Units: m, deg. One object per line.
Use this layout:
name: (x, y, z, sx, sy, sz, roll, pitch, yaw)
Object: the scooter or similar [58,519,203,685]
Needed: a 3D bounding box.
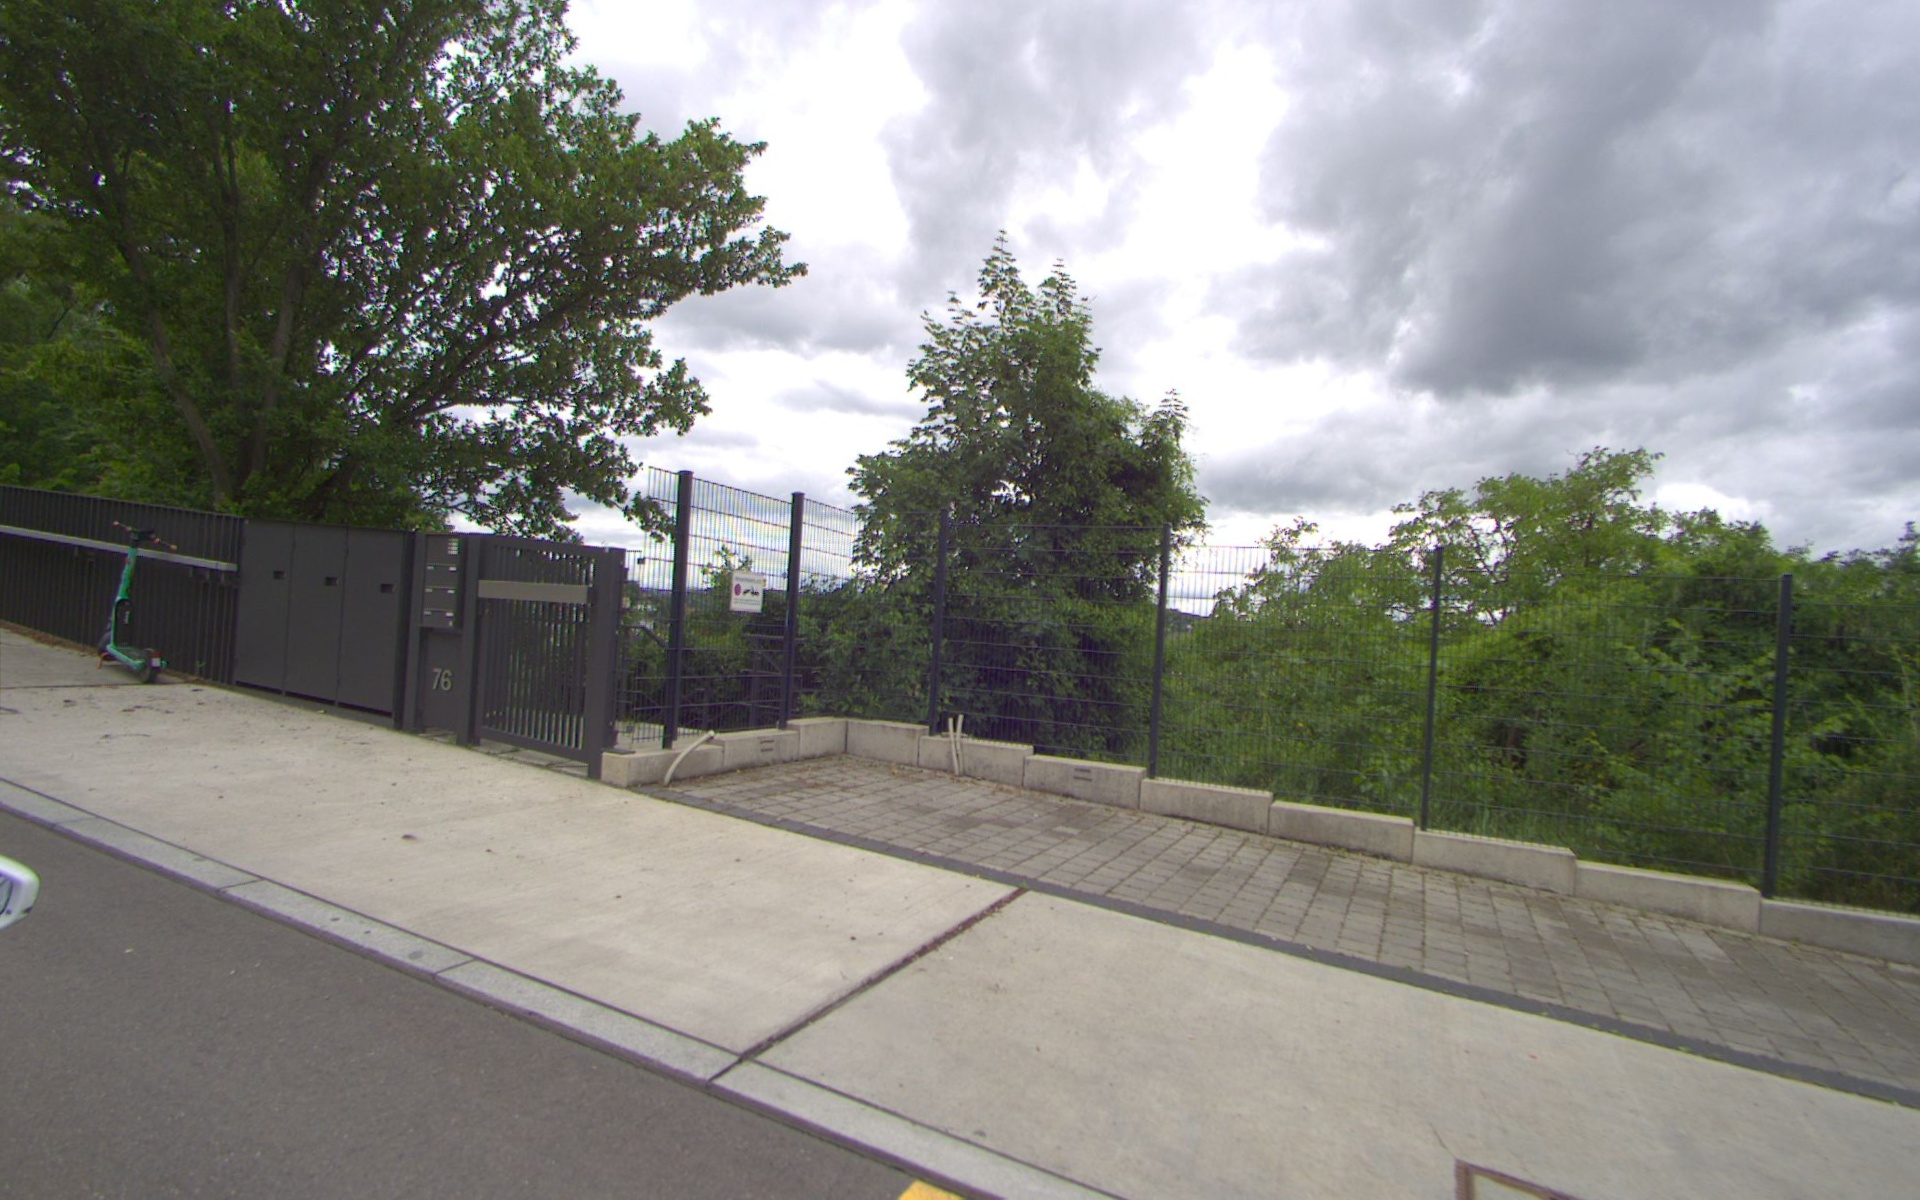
scooter or similar: (-7.075, 0.006, 8.570, 1.186, 1.242, 0.535, 8, 2, 32)
